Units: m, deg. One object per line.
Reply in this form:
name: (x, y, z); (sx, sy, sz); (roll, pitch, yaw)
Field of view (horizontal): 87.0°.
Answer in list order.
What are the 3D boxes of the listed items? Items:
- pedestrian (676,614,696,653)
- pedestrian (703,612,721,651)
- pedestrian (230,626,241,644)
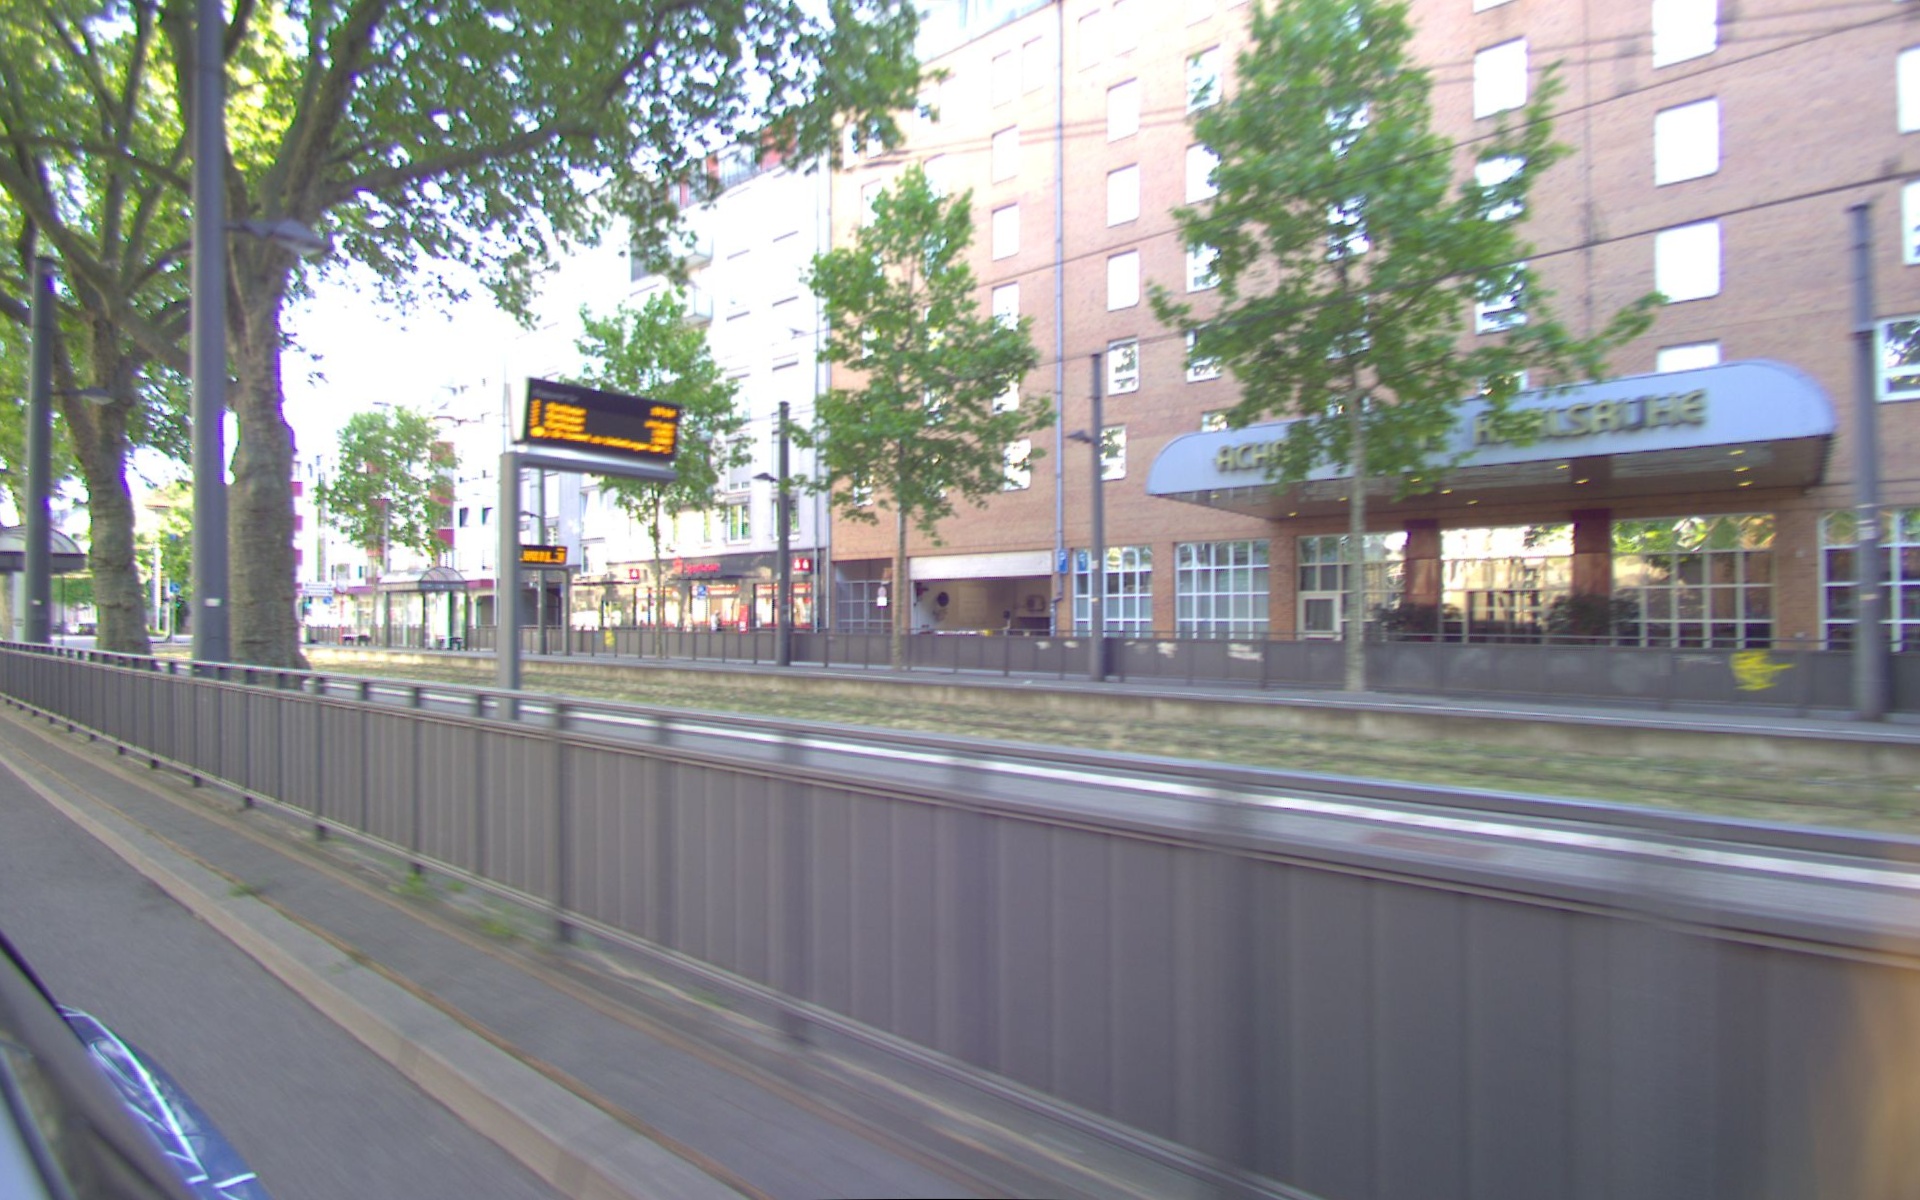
pedestrian: (-12.683, 1.550, 46.817); (0.784, 1.784, 0.497); (-1, 0, 41)
pedestrian: (-11.458, 1.457, 46.741); (0.628, 1.784, 0.497); (-1, 0, 41)
pedestrian: (-68.061, 3.273, 95.040); (0.594, 1.717, 0.670); (-1, 0, -10)
